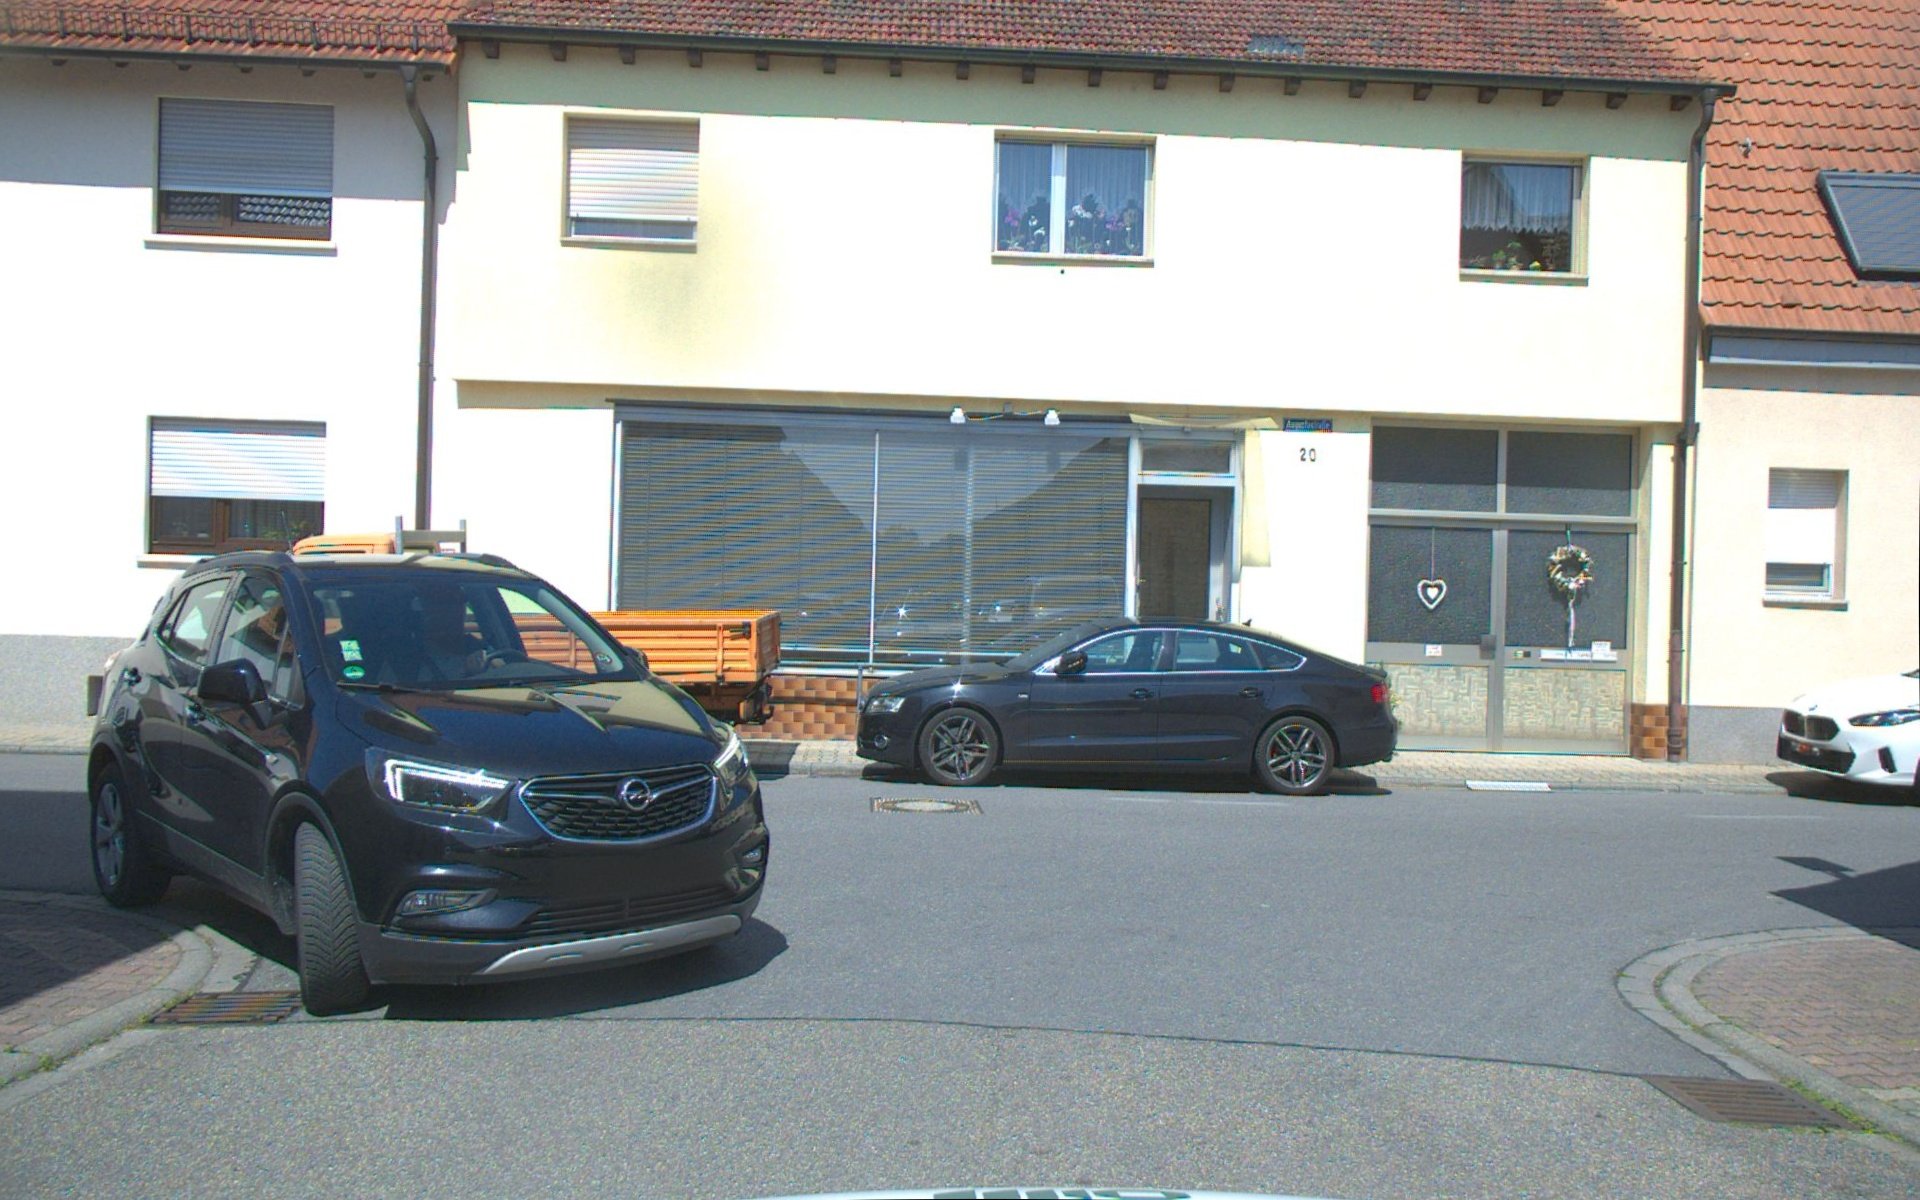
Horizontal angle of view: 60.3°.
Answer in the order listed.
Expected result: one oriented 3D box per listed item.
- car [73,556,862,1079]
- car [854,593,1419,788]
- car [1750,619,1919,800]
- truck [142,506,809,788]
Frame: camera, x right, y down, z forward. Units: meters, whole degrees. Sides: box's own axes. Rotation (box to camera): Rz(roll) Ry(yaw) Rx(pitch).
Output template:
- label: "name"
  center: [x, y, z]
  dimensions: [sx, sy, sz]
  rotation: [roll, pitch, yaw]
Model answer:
- label: "car"
  center: [-2.402, 0.636, 7.265]
  dimensions: [1.747, 1.610, 4.216]
  rotation: [0, 1, -41]
- label: "car"
  center: [1.392, 0.775, 14.195]
  dimensions: [4.524, 1.419, 1.926]
  rotation: [2, -3, -3]
- label: "car"
  center: [9.554, 0.989, 14.784]
  dimensions: [4.116, 1.479, 1.788]
  rotation: [2, 0, -1]
- label: "truck"
  center: [-3.873, 0.377, 14.033]
  dimensions: [4.961, 2.049, 2.189]
  rotation: [2, 0, -2]
